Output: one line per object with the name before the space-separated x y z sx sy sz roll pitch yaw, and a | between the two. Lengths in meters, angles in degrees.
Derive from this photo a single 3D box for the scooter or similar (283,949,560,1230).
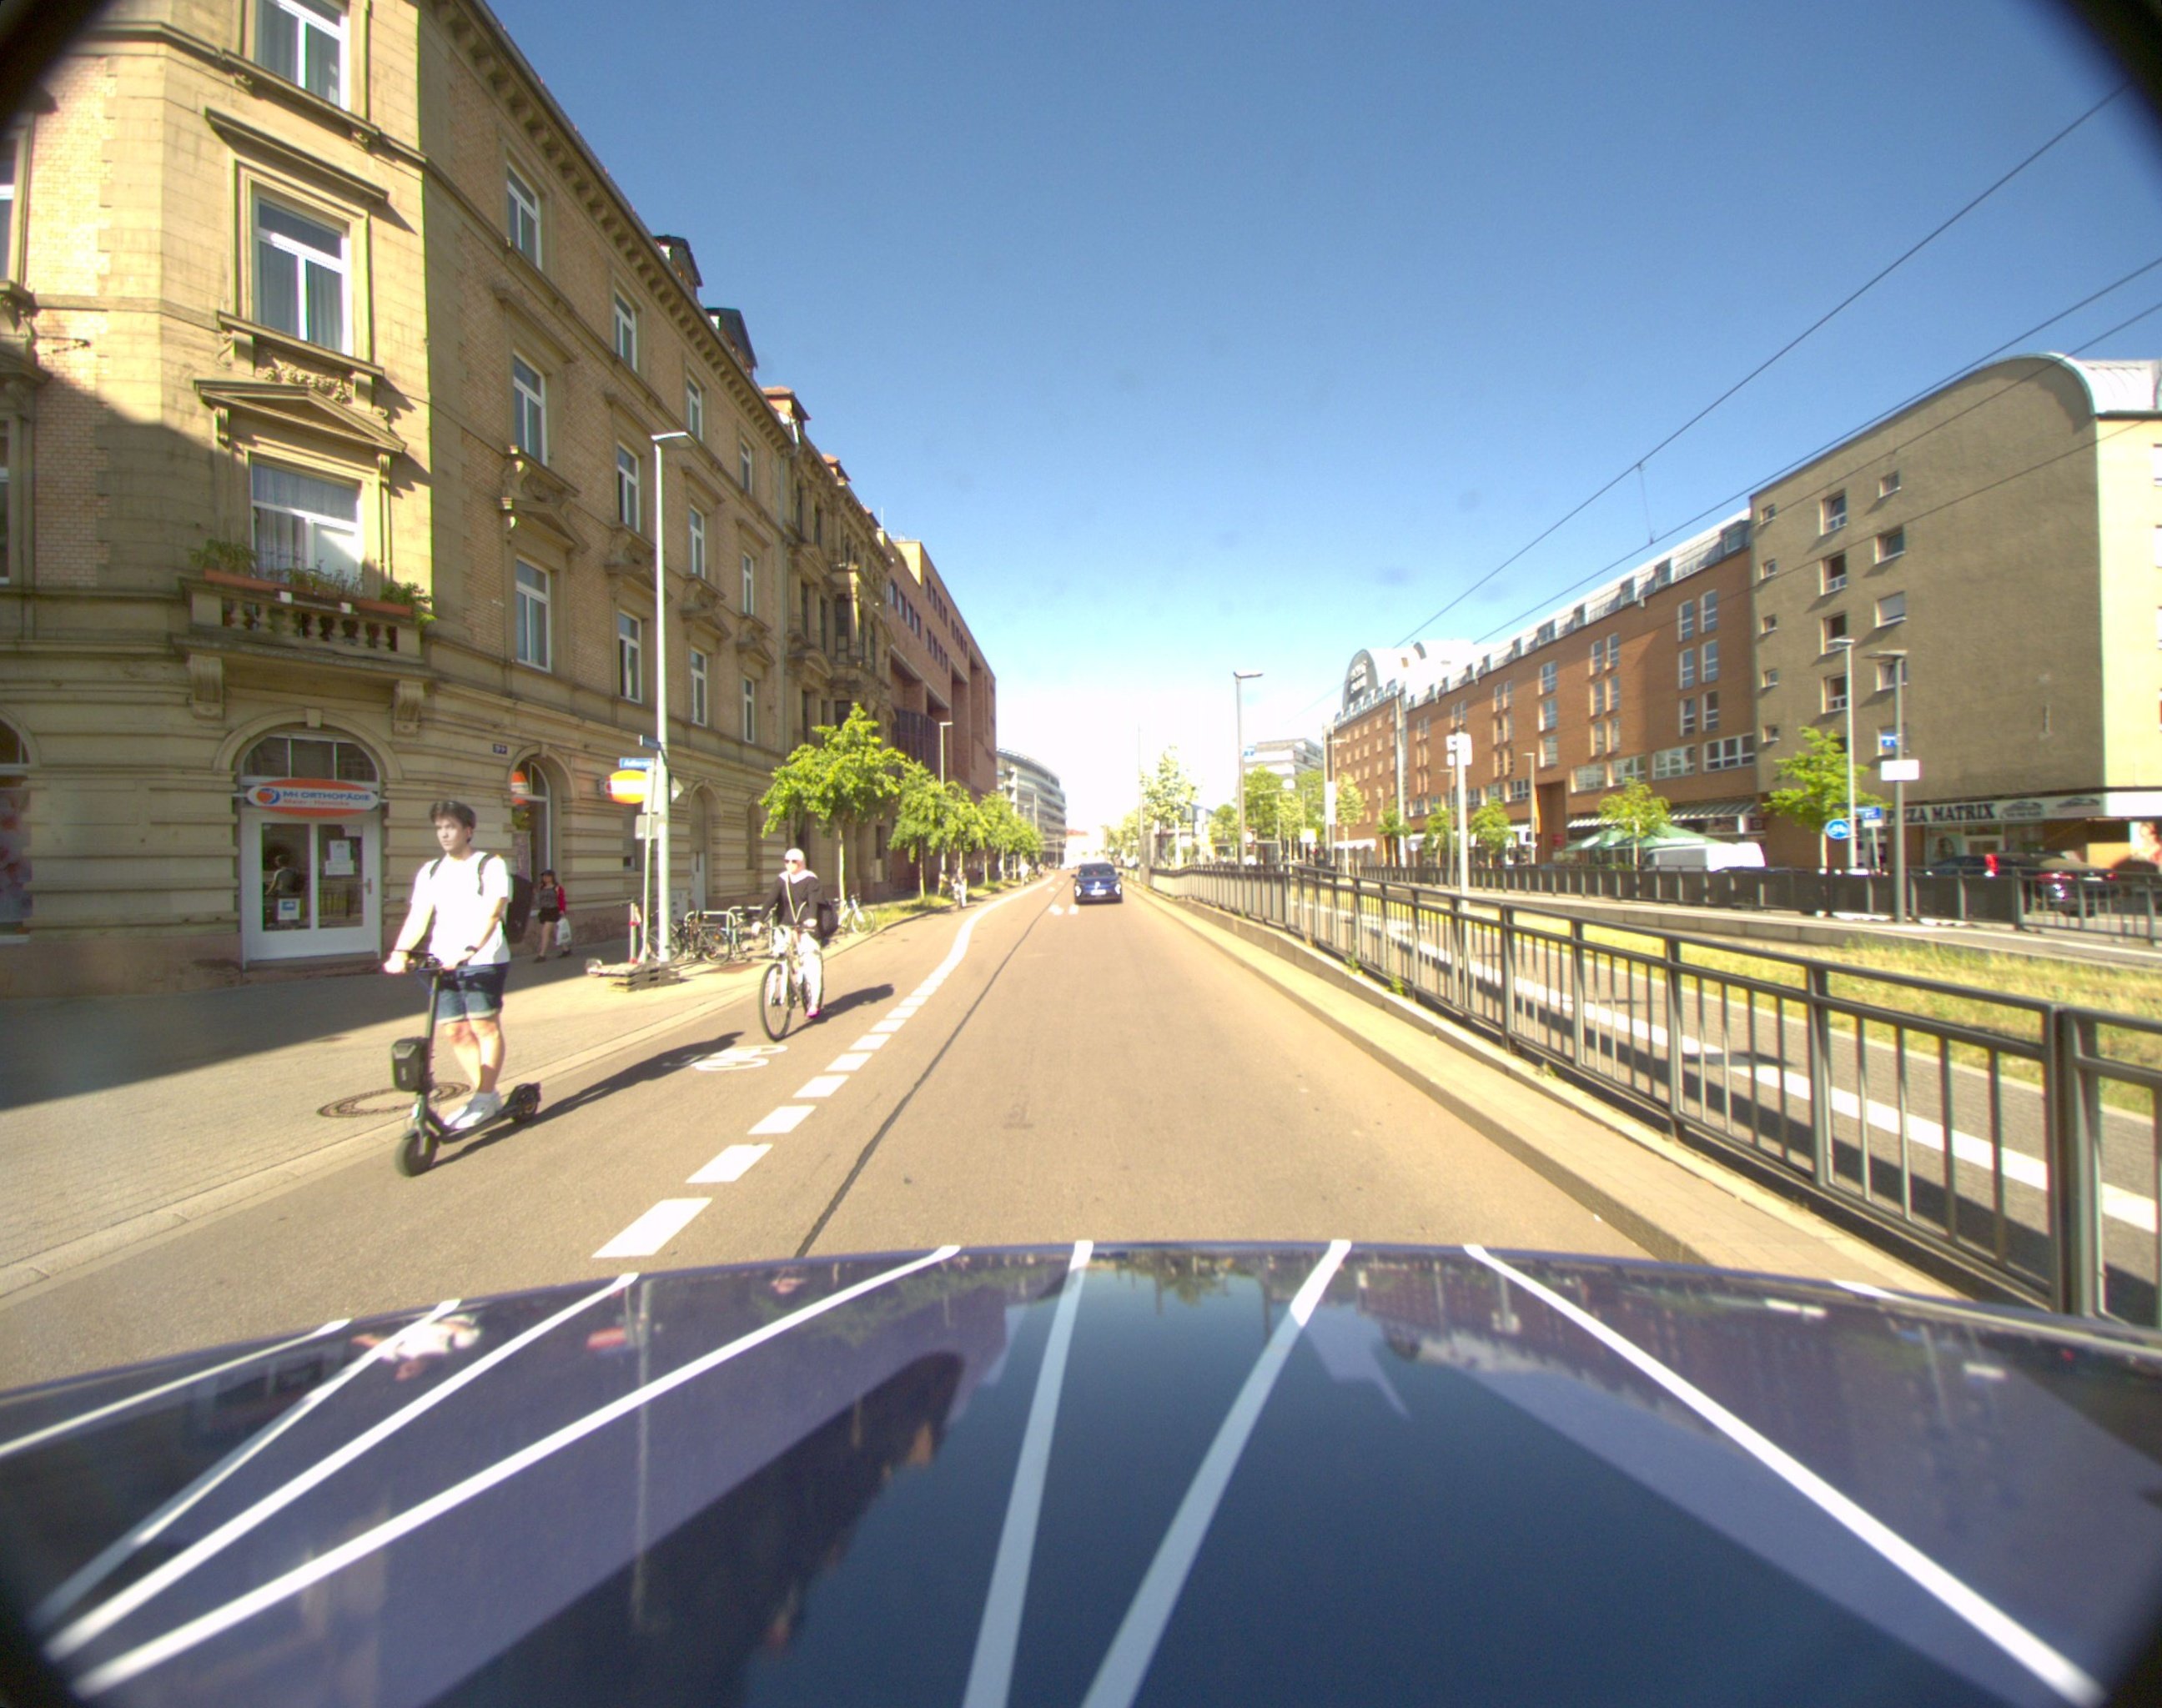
scooter or similar | -3.646 1.233 4.325 0.492 1.219 1.170 -3 0 0

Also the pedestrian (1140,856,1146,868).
pedestrian | 8.388 1.110 102.703 0.608 1.560 0.728 -1 0 21

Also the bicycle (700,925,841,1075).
bicycle | -2.914 1.320 7.328 0.558 1.086 1.792 -3 0 0

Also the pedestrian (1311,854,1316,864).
pedestrian | 38.983 0.862 127.239 0.645 1.600 0.728 -1 0 5

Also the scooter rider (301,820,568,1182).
scooter rider | -3.656 0.765 4.391 0.668 1.850 0.901 -3 0 0

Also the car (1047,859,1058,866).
car | -6.579 2.012 174.198 1.882 1.455 4.002 -2 1 7

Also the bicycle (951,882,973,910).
bicycle | -4.746 1.673 30.336 0.558 1.021 1.507 -3 0 0

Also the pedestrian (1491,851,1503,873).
pedestrian | 35.582 0.696 64.990 0.622 1.829 0.644 -1 0 -1

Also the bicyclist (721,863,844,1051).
bicyclist | -2.908 0.960 7.496 0.781 1.701 0.868 -3 0 0

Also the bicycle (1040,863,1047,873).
bicycle | -4.378 1.634 88.816 0.578 1.090 1.507 -3 0 3

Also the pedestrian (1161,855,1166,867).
pedestrian | 11.342 0.973 103.954 0.609 1.560 0.728 -1 0 11

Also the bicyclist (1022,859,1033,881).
bicyclist | -4.250 1.243 60.427 0.684 1.718 0.909 -3 0 3

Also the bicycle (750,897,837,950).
bicycle | -6.118 1.470 16.195 1.603 1.039 0.607 1 0 4

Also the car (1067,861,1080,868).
car | -1.695 2.298 173.929 2.120 1.547 4.003 -1 0 9

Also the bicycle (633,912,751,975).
bicycle | -6.386 1.455 12.499 1.673 0.938 0.607 0 0 8

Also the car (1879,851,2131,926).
car | 24.191 0.837 20.165 1.819 1.749 4.000 -1 0 0

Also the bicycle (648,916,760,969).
bicycle | -6.514 1.522 13.167 1.673 0.816 0.607 0 0 7

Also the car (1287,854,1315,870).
car | 24.355 0.842 84.174 1.998 1.674 4.000 -2 1 1

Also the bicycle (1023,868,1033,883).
bicycle | -4.223 1.709 60.356 0.578 1.090 1.507 -3 0 2

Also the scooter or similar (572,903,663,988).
scooter or similar | -6.757 1.324 11.094 1.113 1.182 0.419 0 0 8

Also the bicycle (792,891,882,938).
bicycle | -6.022 1.490 18.878 2.001 1.086 0.846 1 0 -9

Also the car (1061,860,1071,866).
car | -3.783 2.216 189.855 1.882 1.455 4.002 -2 1 7

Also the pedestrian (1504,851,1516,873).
pedestrian | 35.883 0.681 63.499 0.622 1.829 0.644 -1 0 -1

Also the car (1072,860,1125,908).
car | 0.646 1.080 28.916 1.802 1.596 4.000 -2 1 1

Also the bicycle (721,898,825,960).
bicycle | -5.916 1.432 14.636 1.727 1.094 0.607 1 0 4

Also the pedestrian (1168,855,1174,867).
pedestrian | 12.132 0.950 102.465 0.609 1.560 0.909 -1 0 11

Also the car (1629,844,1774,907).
car | 25.360 0.822 31.412 1.997 2.356 5.649 -1 0 8

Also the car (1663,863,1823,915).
car | 19.556 0.980 22.671 1.578 1.368 3.653 1 0 1

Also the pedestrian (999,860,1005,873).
pedestrian | -8.901 1.433 85.762 0.633 1.478 0.736 -1 0 0

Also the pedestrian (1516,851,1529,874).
pedestrian | 34.872 0.668 60.029 0.622 1.829 0.645 -1 0 1

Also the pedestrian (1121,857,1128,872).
pedestrian | 5.024 1.227 87.382 0.710 1.713 0.752 -1 0 -1

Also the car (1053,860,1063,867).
car | -5.456 2.352 181.396 1.882 1.455 4.002 -2 1 7

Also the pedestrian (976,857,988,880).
pedestrian | -8.180 1.161 62.861 0.790 1.872 1.106 -1 0 0

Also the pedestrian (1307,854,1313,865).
pedestrian | 35.812 0.824 118.834 0.716 1.745 0.780 -1 0 6

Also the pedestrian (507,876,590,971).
pedestrian | -9.002 1.148 12.883 0.711 1.533 0.927 -1 0 0

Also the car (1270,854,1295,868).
car | 25.115 0.867 94.875 1.998 1.674 4.000 -2 1 1

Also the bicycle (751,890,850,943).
bicycle | -6.438 1.429 17.511 1.999 1.121 0.710 1 0 2

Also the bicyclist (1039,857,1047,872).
bicyclist | -4.407 1.223 88.826 0.755 1.607 0.762 -3 0 4

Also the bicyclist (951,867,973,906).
bicyclist | -4.751 1.289 30.371 0.659 1.528 0.909 -3 0 0
